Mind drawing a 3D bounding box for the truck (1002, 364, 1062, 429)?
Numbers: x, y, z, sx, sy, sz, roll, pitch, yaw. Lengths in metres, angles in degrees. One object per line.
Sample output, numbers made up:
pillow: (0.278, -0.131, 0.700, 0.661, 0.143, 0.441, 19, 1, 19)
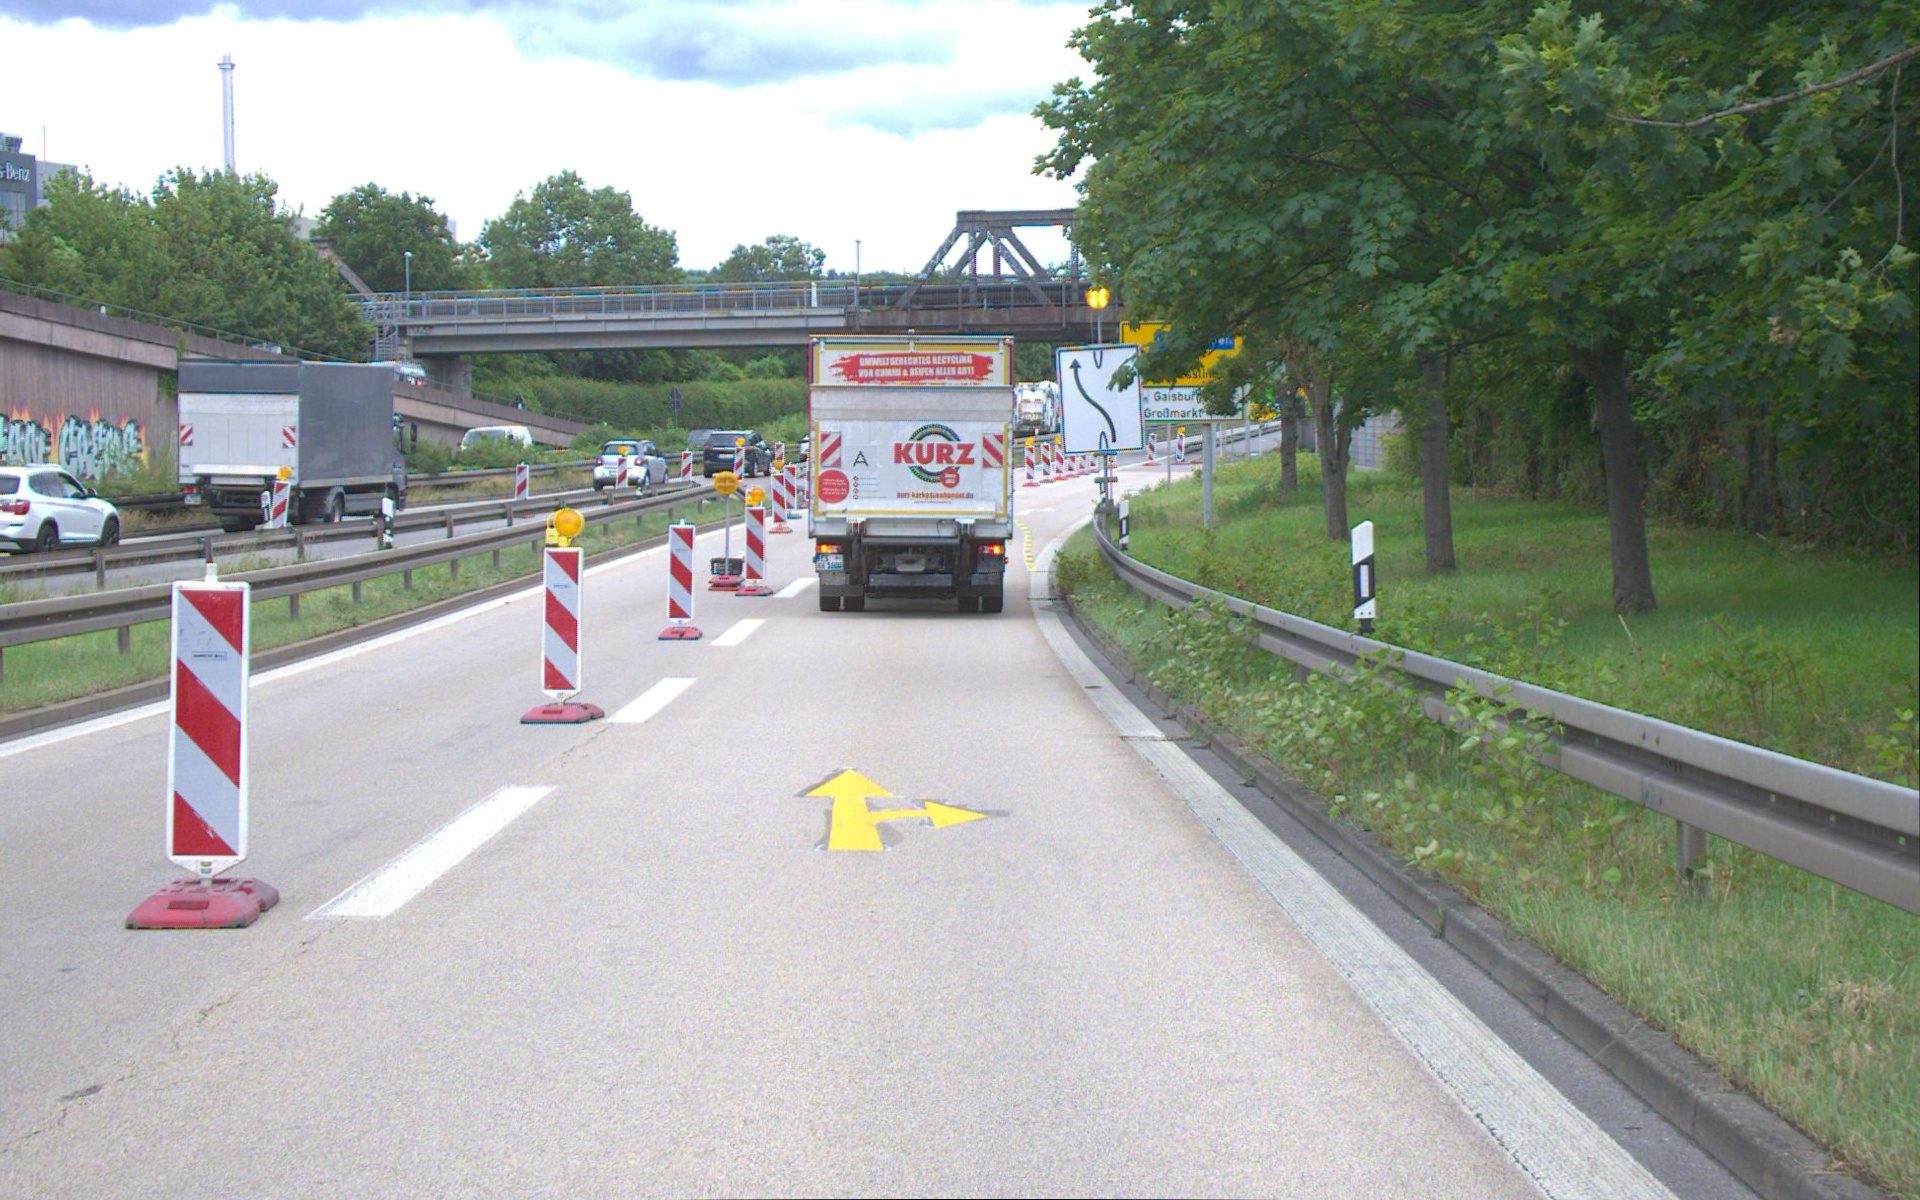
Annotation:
truck: (4.430, -12.381, 210.145, 3.287, 3.839, 7.664, 0, 3, 4)

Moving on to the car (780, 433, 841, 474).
car: (-5.980, -5.866, 137.878, 1.994, 1.612, 4.000, 0, 3, 4)

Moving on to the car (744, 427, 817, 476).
car: (-6.070, -5.038, 116.604, 1.994, 1.612, 4.000, 0, 3, 4)

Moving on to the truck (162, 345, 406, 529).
truck: (-14.085, -3.416, 72.287, 3.051, 3.643, 7.395, 0, 3, 5)

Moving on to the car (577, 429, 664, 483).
car: (-10.356, -4.403, 105.163, 1.994, 1.612, 4.000, 0, 3, 4)

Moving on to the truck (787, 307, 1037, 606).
truck: (-0.586, -1.861, 46.081, 3.051, 3.660, 7.928, 0, 2, 0)

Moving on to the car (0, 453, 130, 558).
car: (-15.938, -1.648, 58.721, 1.994, 1.706, 4.100, 0, 3, 9)
